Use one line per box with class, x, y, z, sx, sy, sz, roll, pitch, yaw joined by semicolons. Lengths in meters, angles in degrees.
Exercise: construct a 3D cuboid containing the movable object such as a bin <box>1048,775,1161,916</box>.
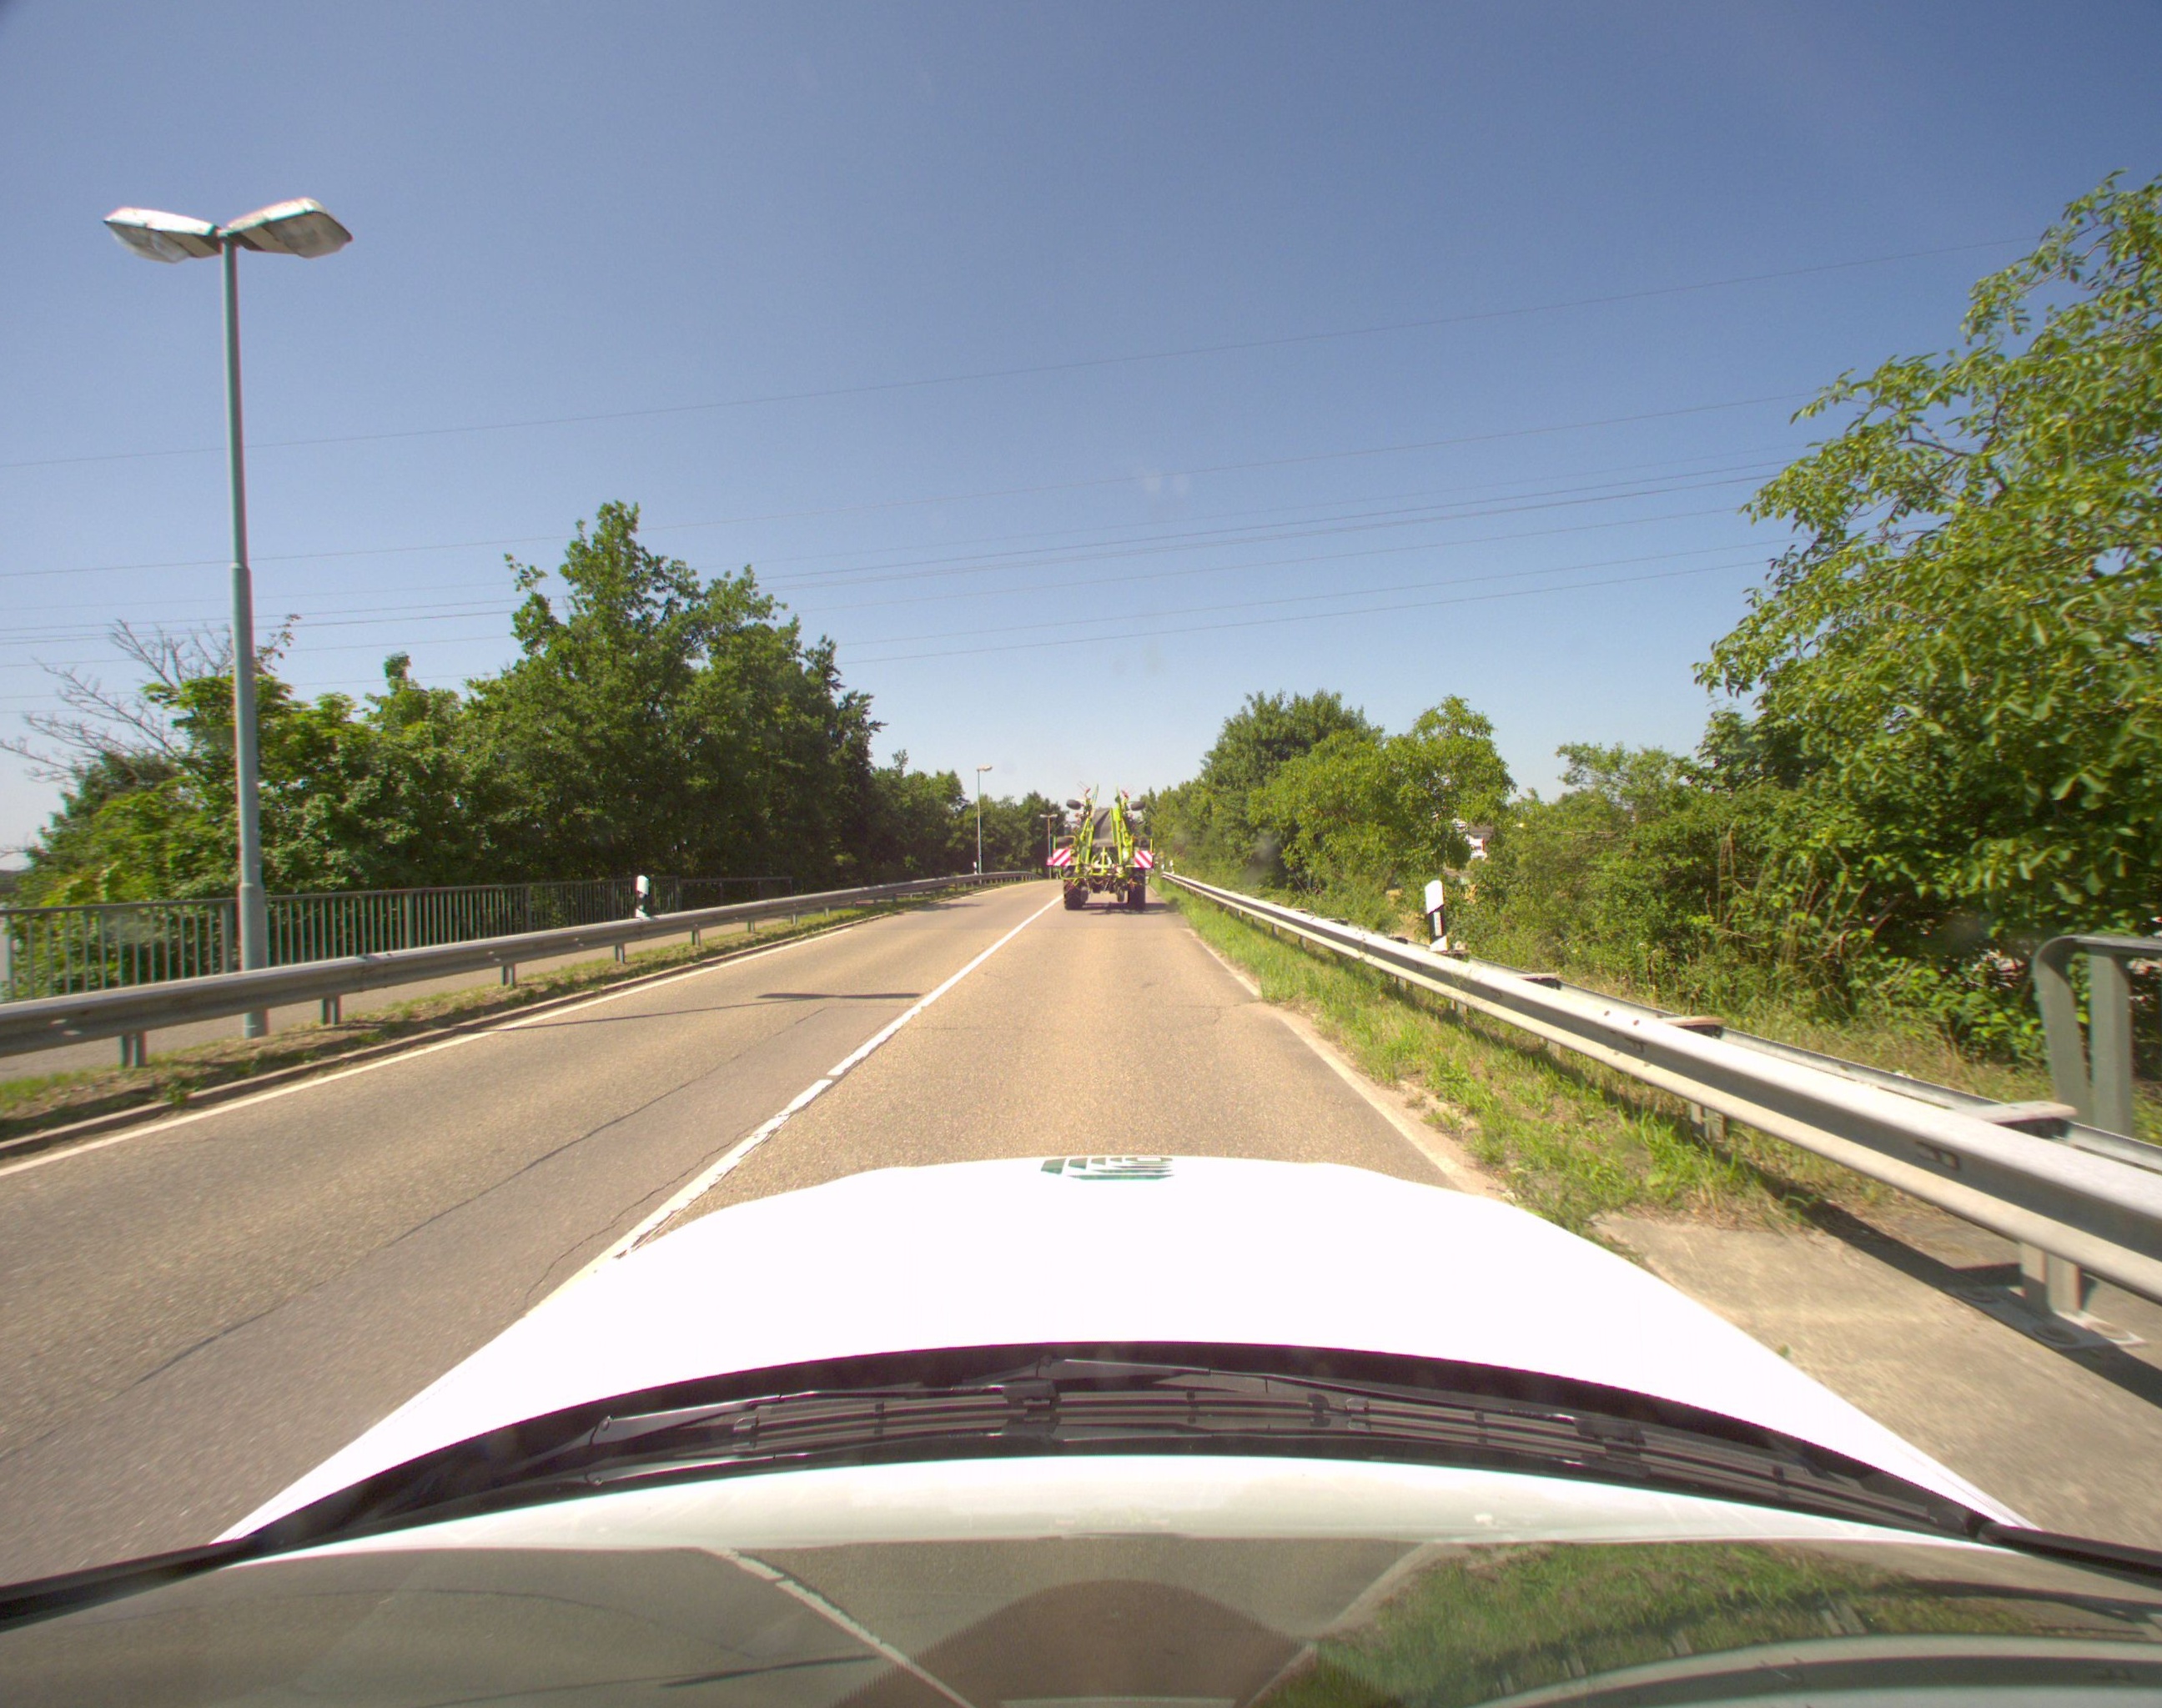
movable object such as a bin;0.693;-0.223;22.920;2.744;3.444;5.673;-1;0;2
